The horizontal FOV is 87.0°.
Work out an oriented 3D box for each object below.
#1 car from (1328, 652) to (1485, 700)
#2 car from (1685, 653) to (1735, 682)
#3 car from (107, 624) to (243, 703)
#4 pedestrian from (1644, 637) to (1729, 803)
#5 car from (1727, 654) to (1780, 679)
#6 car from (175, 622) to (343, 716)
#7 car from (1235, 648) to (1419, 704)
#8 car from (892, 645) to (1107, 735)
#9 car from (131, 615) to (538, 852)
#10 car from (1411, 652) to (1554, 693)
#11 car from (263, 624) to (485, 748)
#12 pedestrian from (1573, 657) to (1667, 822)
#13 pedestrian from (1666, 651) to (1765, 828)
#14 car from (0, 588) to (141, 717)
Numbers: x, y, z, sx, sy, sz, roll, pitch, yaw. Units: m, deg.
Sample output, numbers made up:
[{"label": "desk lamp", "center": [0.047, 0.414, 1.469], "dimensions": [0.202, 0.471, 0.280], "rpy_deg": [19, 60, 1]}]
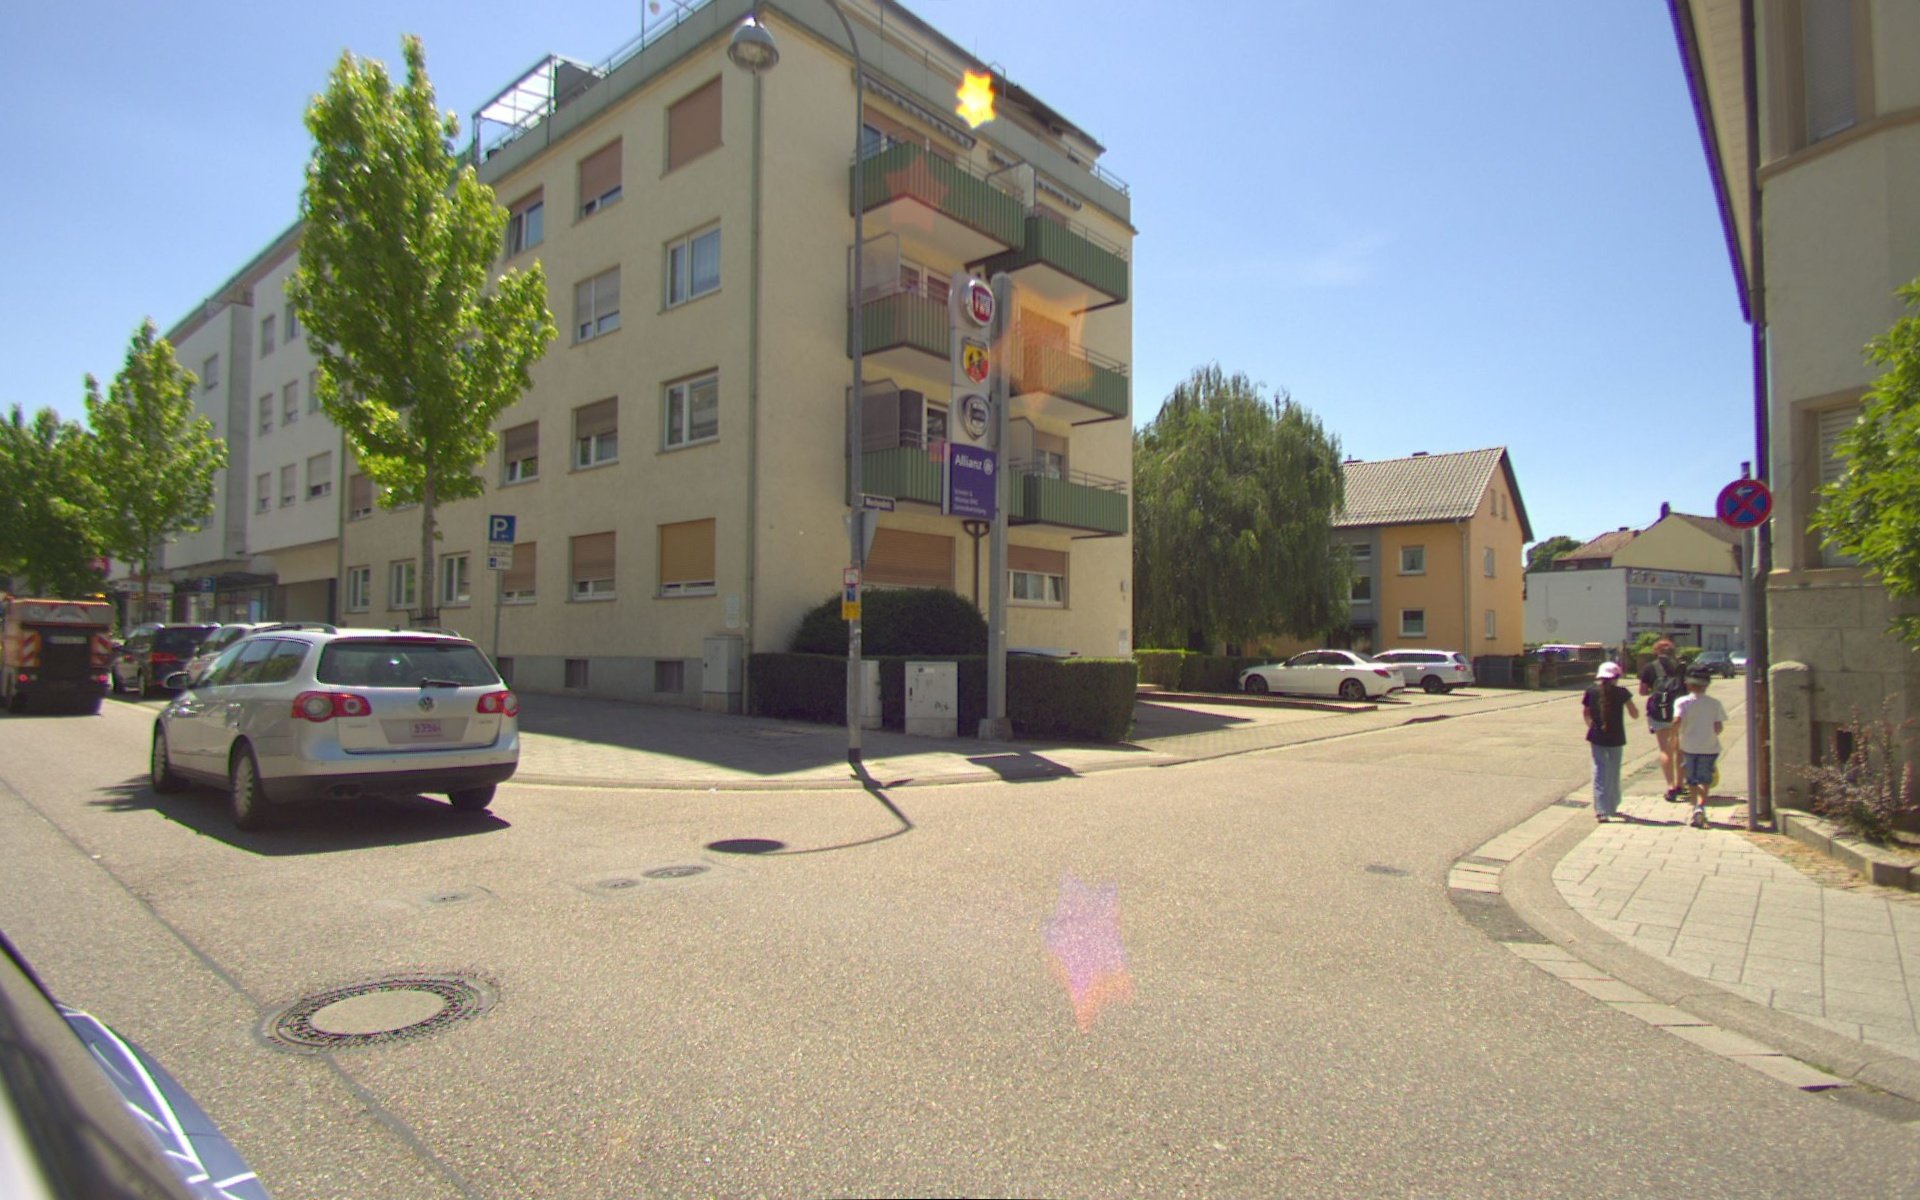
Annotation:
[{"label": "car", "center": [15.513, 2.605, 35.321], "dimensions": [4.699, 1.473, 1.902], "rpy_deg": [-2, -4, 41]}, {"label": "car", "center": [43.817, 3.930, 59.101], "dimensions": [3.587, 1.578, 1.458], "rpy_deg": [3, -4, -39]}, {"label": "car", "center": [-18.260, 1.404, 23.475], "dimensions": [4.292, 1.683, 1.709], "rpy_deg": [-2, -2, 41]}, {"label": "pedestrian", "center": [7.215, 1.155, 10.047], "dimensions": [0.598, 1.563, 0.718], "rpy_deg": [-2, -4, 41]}, {"label": "car", "center": [51.536, 4.324, 65.722], "dimensions": [3.583, 1.578, 1.460], "rpy_deg": [2, -3, -30]}, {"label": "car", "center": [-14.080, 1.295, 20.248], "dimensions": [4.291, 1.683, 1.709], "rpy_deg": [-2, -2, 40]}, {"label": "car", "center": [10.646, 2.167, 29.566], "dimensions": [4.699, 1.473, 1.902], "rpy_deg": [-2, -4, 41]}, {"label": "car", "center": [0.721, 1.625, 19.145], "dimensions": [3.740, 1.519, 1.731], "rpy_deg": [-1, -3, 33]}, {"label": "car", "center": [-5.442, 0.935, 8.569], "dimensions": [4.292, 1.520, 1.709], "rpy_deg": [-2, -4, 41]}, {"label": "car", "center": [20.602, 2.823, 40.005], "dimensions": [4.699, 1.473, 1.902], "rpy_deg": [-2, -4, 41]}, {"label": "car", "center": [-9.243, 1.227, 15.816], "dimensions": [4.292, 1.683, 1.709], "rpy_deg": [-2, -2, 41]}, {"label": "pedestrian", "center": [5.977, 1.222, 9.163], "dimensions": [0.598, 1.394, 0.718], "rpy_deg": [-2, -4, 41]}, {"label": "pedestrian", "center": [6.391, 1.139, 8.559], "dimensions": [0.598, 1.394, 0.718], "rpy_deg": [-2, -4, 41]}, {"label": "car", "center": [-17.145, 0.986, 19.189], "dimensions": [4.292, 2.183, 1.709], "rpy_deg": [-2, -5, 41]}]
